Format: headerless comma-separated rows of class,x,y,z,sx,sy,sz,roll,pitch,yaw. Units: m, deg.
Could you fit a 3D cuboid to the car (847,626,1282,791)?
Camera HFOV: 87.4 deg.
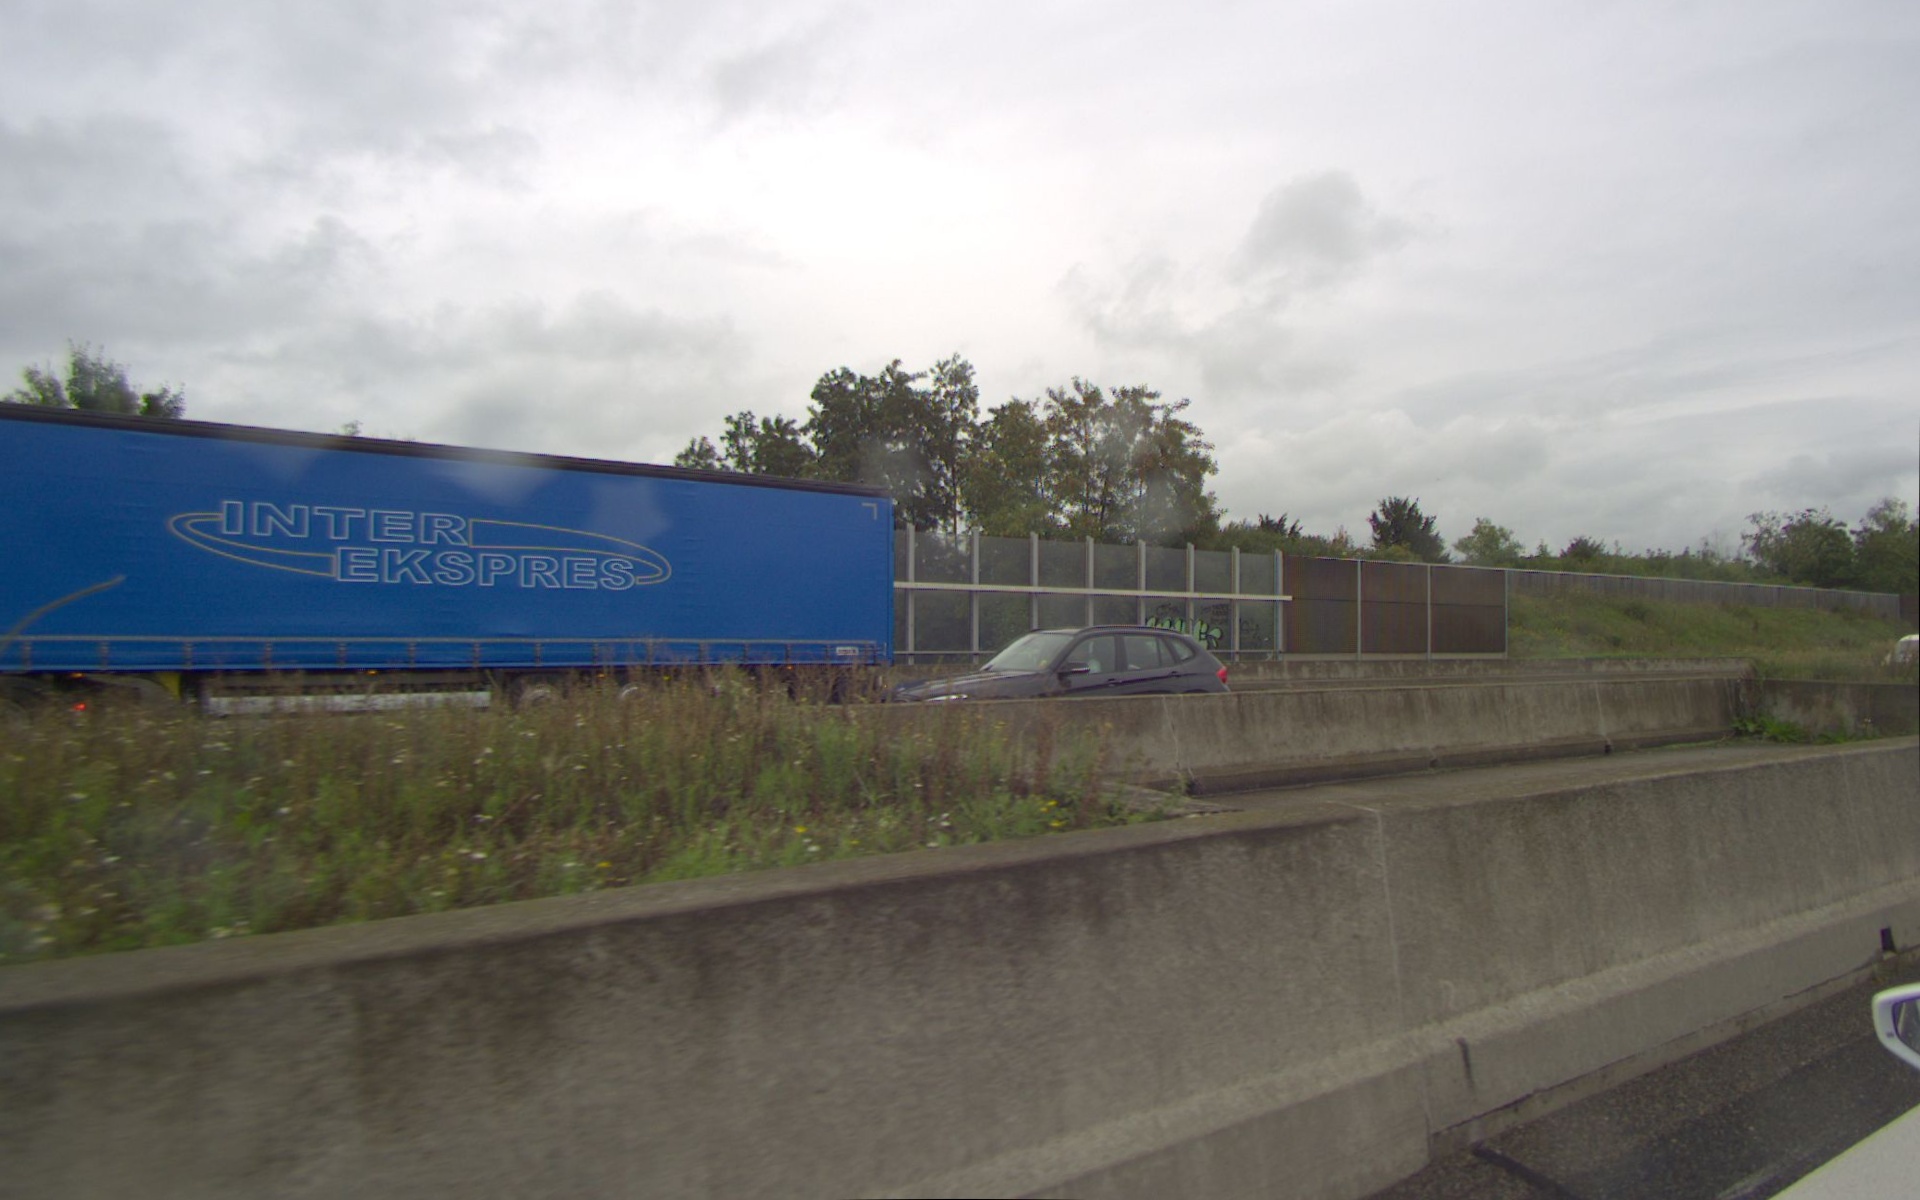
car,1.281,1.118,11.664,4.760,1.539,1.985,1,-1,-29

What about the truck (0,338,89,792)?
truck,-13.410,-0.467,10.917,5.357,4.923,3.172,2,0,-31

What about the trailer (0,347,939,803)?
trailer,-6.908,-0.155,15.022,13.378,4.950,3.199,2,0,-32

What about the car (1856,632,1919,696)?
car,32.632,2.158,34.191,4.148,2.040,1.984,2,0,-30
